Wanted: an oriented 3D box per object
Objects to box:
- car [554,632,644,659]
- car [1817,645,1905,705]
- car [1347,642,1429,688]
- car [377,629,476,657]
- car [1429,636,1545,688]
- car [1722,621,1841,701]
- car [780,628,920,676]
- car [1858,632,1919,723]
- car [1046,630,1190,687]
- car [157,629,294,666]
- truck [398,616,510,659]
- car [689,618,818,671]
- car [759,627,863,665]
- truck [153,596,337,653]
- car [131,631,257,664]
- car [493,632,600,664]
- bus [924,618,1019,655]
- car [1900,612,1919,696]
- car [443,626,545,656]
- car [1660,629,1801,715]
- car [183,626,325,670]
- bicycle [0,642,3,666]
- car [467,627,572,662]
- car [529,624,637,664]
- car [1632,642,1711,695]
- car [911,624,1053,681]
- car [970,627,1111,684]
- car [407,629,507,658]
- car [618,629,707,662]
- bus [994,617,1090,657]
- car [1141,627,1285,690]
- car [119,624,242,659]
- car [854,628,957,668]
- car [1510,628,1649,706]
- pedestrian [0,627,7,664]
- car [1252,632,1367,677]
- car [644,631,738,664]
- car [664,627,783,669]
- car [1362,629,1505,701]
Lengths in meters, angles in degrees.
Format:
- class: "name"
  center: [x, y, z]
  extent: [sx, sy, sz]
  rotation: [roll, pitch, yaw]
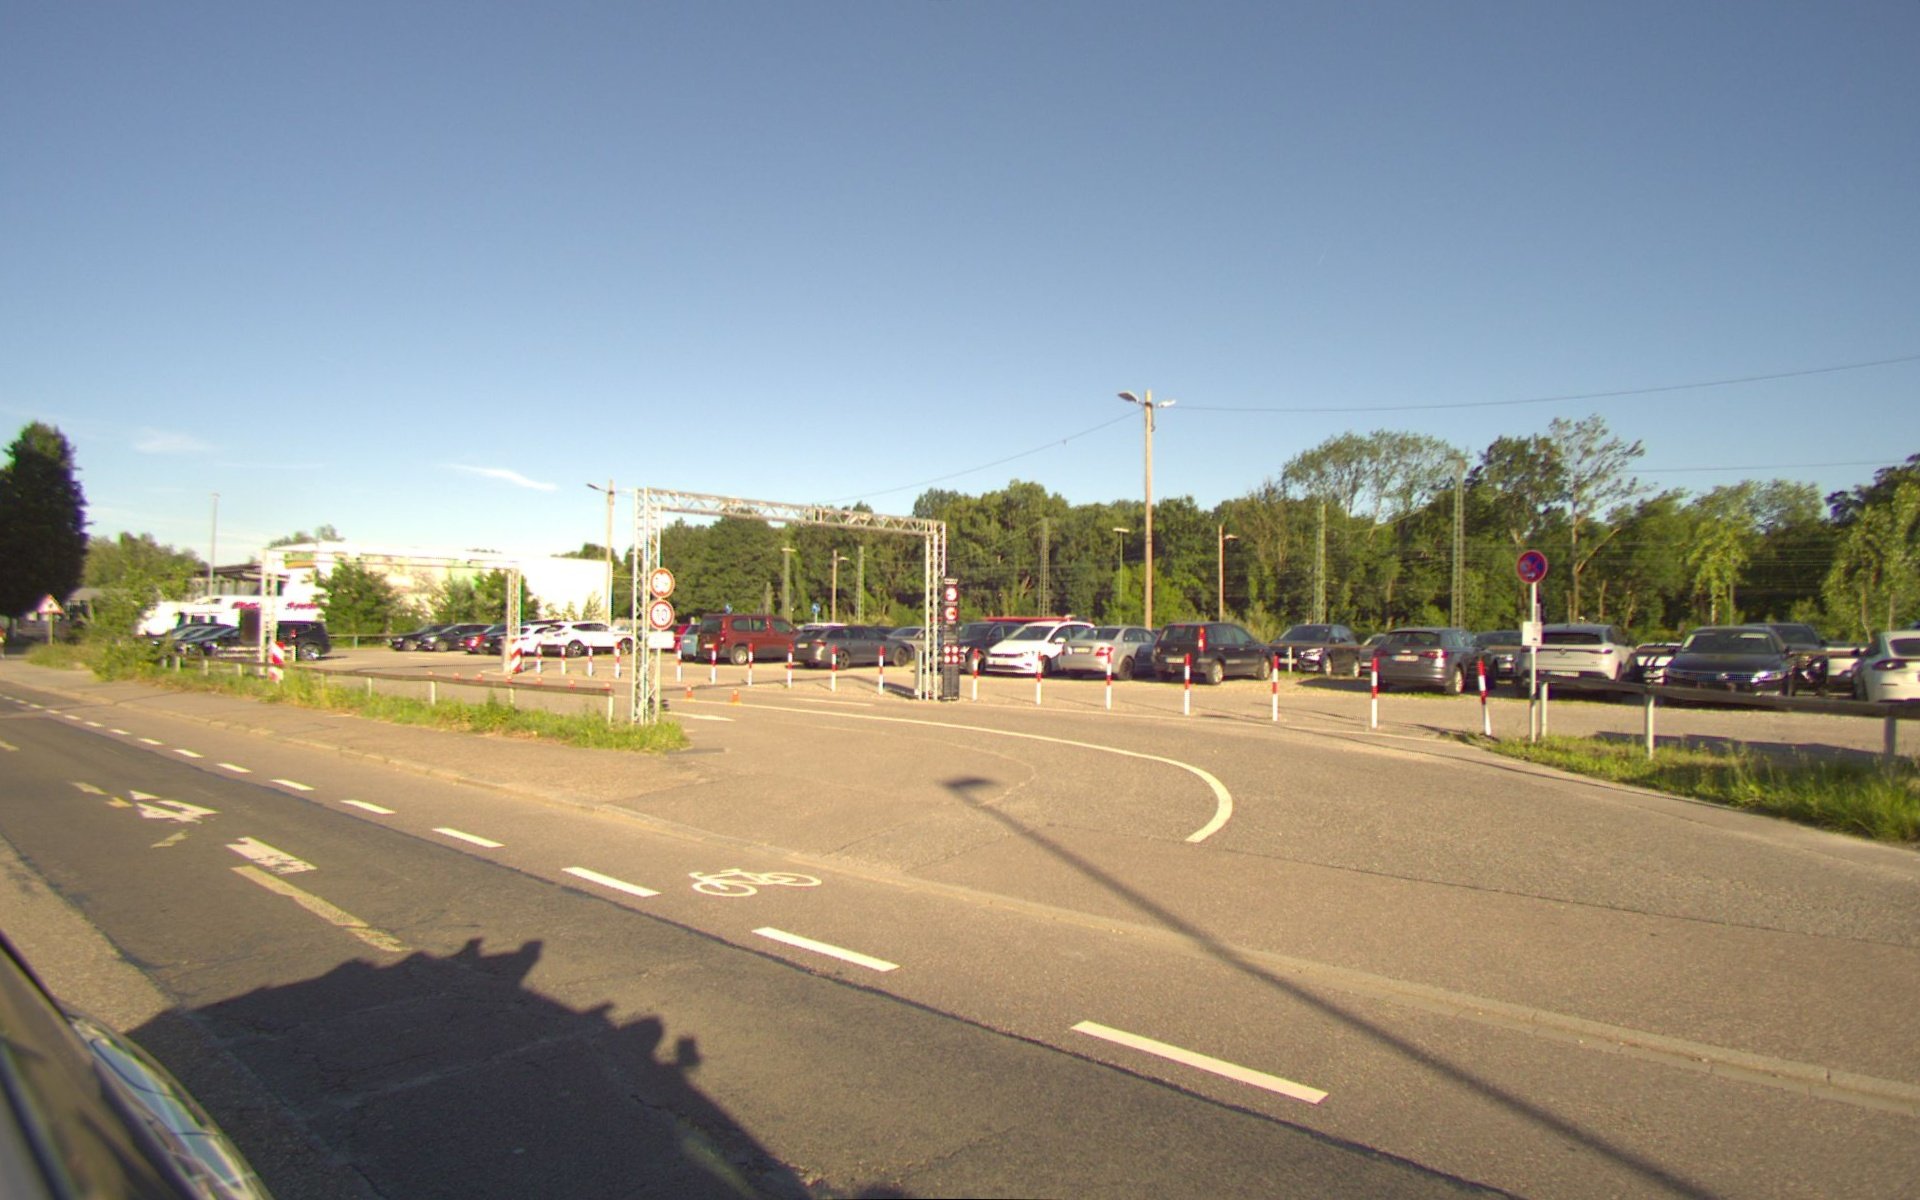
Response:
- class: "car"
  center: [-19.502, 2.453, 54.781]
  extent: [2.045, 1.408, 4.122]
  rotation: [-1, -2, 36]
- class: "car"
  center: [26.097, 2.133, 29.404]
  extent: [1.752, 1.565, 3.684]
  rotation: [-2, -2, 40]
- class: "car"
  center: [16.052, 2.380, 37.886]
  extent: [1.752, 1.565, 3.794]
  rotation: [-2, -2, 40]
- class: "car"
  center: [-29.222, 2.338, 55.504]
  extent: [2.045, 1.476, 4.362]
  rotation: [-1, -2, 36]
- class: "car"
  center: [13.754, 1.558, 26.304]
  extent: [1.877, 1.197, 3.823]
  rotation: [-2, -2, 40]
- class: "car"
  center: [18.264, 1.296, 22.489]
  extent: [1.877, 1.616, 3.843]
  rotation: [-2, -2, 40]
- class: "car"
  center: [-3.659, 1.718, 34.229]
  extent: [1.991, 1.492, 4.525]
  rotation: [-2, -2, 43]
- class: "car"
  center: [16.556, 1.247, 17.075]
  extent: [1.876, 1.387, 4.278]
  rotation: [-2, -2, 39]
- class: "car"
  center: [4.338, 1.524, 27.307]
  extent: [1.877, 1.404, 4.276]
  rotation: [-2, -2, 41]
- class: "car"
  center: [-31.330, 2.018, 43.265]
  extent: [2.048, 1.473, 4.381]
  rotation: [-1, -3, 41]
- class: "truck"
  center: [-34.716, 2.620, 69.649]
  extent: [2.314, 2.829, 6.431]
  rotation: [-1, -3, 39]
- class: "car"
  center: [-7.623, 1.620, 37.637]
  extent: [1.856, 1.819, 4.528]
  rotation: [-2, -2, 41]
- class: "car"
  center: [-6.376, 1.930, 43.613]
  extent: [1.856, 1.557, 4.321]
  rotation: [-2, -2, 41]
- class: "truck"
  center: [-49.177, 1.684, 70.017]
  extent: [2.773, 3.642, 9.998]
  rotation: [0, -1, 39]
- class: "car"
  center: [-35.650, 2.190, 47.177]
  extent: [2.048, 1.473, 4.381]
  rotation: [-1, -3, 41]
- class: "car"
  center: [-19.051, 2.185, 46.729]
  extent: [2.045, 1.408, 4.122]
  rotation: [-1, -2, 36]
- class: "bus"
  center: [0.731, 2.408, 67.162]
  extent: [6.203, 2.366, 2.512]
  rotation: [-2, -3, 42]
- class: "car"
  center: [20.486, 1.064, 20.499]
  extent: [1.877, 1.616, 3.843]
  rotation: [-2, -2, 40]
- class: "car"
  center: [-23.149, 2.042, 50.380]
  extent: [2.045, 1.408, 4.122]
  rotation: [-1, -2, 36]
- class: "car"
  center: [14.383, 1.251, 18.831]
  extent: [1.876, 1.387, 4.278]
  rotation: [-2, -2, 39]
- class: "car"
  center: [-28.905, 1.940, 41.533]
  extent: [2.048, 1.683, 4.381]
  rotation: [-1, -3, 41]
- class: "bicycle"
  center: [-46.792, 2.616, 48.999]
  extent: [1.868, 1.157, 0.465]
  rotation: [-1, -1, 41]
- class: "car"
  center: [-20.960, 2.115, 48.257]
  extent: [2.045, 1.590, 4.122]
  rotation: [-1, -2, 36]
- class: "car"
  center: [-16.868, 1.956, 45.461]
  extent: [1.963, 1.674, 4.121]
  rotation: [-1, -2, 37]
- class: "car"
  center: [22.942, 2.147, 32.582]
  extent: [1.752, 1.565, 3.684]
  rotation: [-2, -2, 40]
- class: "car"
  center: [0.741, 1.551, 30.716]
  extent: [1.856, 1.597, 4.528]
  rotation: [-2, -2, 41]
- class: "car"
  center: [2.390, 1.542, 29.170]
  extent: [1.877, 1.535, 4.276]
  rotation: [-2, -2, 41]
- class: "car"
  center: [-26.829, 2.286, 54.111]
  extent: [2.045, 1.476, 4.362]
  rotation: [-1, -2, 36]
- class: "car"
  center: [-14.948, 2.266, 50.973]
  extent: [1.910, 1.561, 3.949]
  rotation: [-2, -2, 37]
- class: "bus"
  center: [5.090, 2.309, 63.233]
  extent: [5.587, 2.366, 2.512]
  rotation: [-2, -3, 42]
- class: "car"
  center: [6.573, 1.433, 26.005]
  extent: [1.877, 1.474, 4.276]
  rotation: [-2, -2, 41]
- class: "car"
  center: [-37.647, 1.981, 48.928]
  extent: [2.048, 1.593, 4.381]
  rotation: [-1, -3, 41]
- class: "car"
  center: [-2.076, 1.850, 39.486]
  extent: [1.892, 1.477, 3.947]
  rotation: [-2, -3, 39]
- class: "car"
  center: [12.922, 1.310, 20.983]
  extent: [1.876, 1.430, 4.278]
  rotation: [-2, -2, 39]
- class: "pedestrian"
  center: [-46.722, 2.195, 48.956]
  extent: [1.056, 1.734, 0.713]
  rotation: [-1, -3, 41]
- class: "car"
  center: [10.117, 1.524, 29.170]
  extent: [1.877, 1.197, 3.843]
  rotation: [-2, -2, 40]
- class: "car"
  center: [-13.091, 2.309, 49.509]
  extent: [1.963, 1.541, 4.121]
  rotation: [-1, -2, 37]
- class: "car"
  center: [-9.262, 1.836, 39.842]
  extent: [1.856, 1.557, 4.321]
  rotation: [-2, -2, 41]
- class: "car"
  center: [10.611, 1.377, 22.515]
  extent: [1.876, 1.430, 4.278]
  rotation: [-2, -2, 39]
